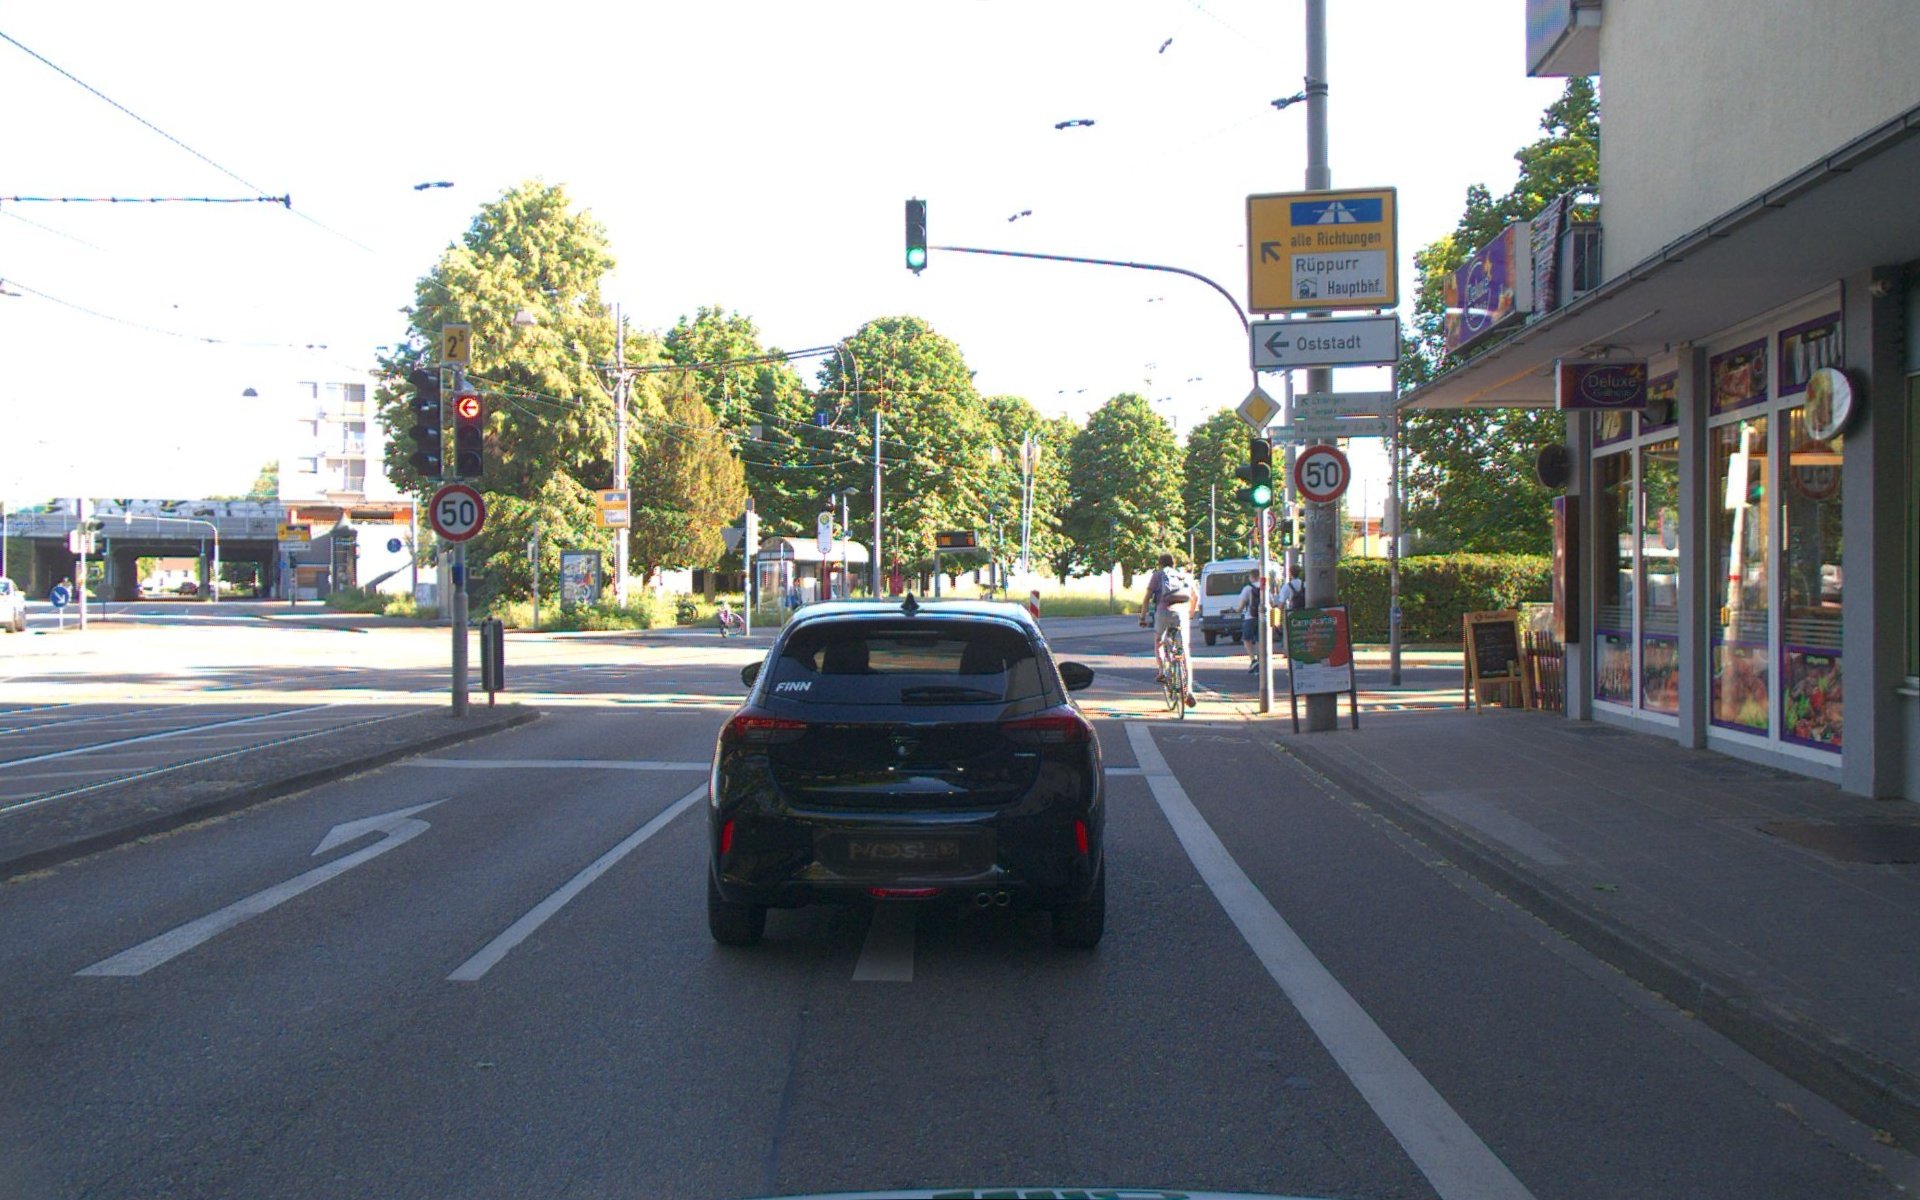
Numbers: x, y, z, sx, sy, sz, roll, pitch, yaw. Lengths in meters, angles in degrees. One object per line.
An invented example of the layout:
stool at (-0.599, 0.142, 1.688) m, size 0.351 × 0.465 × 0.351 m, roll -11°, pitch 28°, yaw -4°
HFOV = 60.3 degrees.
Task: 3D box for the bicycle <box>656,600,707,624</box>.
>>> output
bicycle at (-10.782, 0.461, 63.977) m, size 1.837 × 0.922 × 0.660 m, roll 0°, pitch 0°, yaw 6°

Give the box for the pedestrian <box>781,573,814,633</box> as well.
pedestrian at (-4.762, 0.080, 48.485) m, size 0.695 × 1.722 × 0.716 m, roll -1°, pitch 0°, yaw -43°

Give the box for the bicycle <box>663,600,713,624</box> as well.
bicycle at (-10.651, 0.460, 64.850) m, size 1.837 × 0.922 × 0.660 m, roll 0°, pitch 0°, yaw 6°

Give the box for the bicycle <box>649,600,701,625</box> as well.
bicycle at (-10.860, 0.469, 62.991) m, size 1.837 × 0.922 × 0.660 m, roll 0°, pitch 0°, yaw 6°

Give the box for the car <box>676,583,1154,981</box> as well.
car at (-0.145, 0.658, 8.097) m, size 1.763 × 1.466 × 3.940 m, roll 0°, pitch 0°, yaw 1°

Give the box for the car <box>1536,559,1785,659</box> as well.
car at (13.470, 0.215, 32.020) m, size 4.087 × 1.846 × 1.807 m, roll 0°, pitch -3°, yaw 8°

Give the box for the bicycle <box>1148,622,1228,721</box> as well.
bicycle at (2.723, 0.833, 19.942) m, size 0.653 × 1.078 × 2.082 m, roll 0°, pitch 0°, yaw -1°

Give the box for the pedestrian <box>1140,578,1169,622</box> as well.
pedestrian at (8.176, 0.006, 69.573) m, size 0.939 × 1.824 × 0.995 m, roll 0°, pitch 0°, yaw 25°

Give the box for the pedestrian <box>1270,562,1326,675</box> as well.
pedestrian at (5.709, 0.299, 27.930) m, size 0.691 × 1.878 × 0.697 m, roll 0°, pitch 0°, yaw 39°

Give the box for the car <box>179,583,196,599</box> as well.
car at (-104.440, -1.173, 223.589) m, size 1.970 × 2.049 × 3.965 m, roll 1°, pitch -1°, yaw -27°

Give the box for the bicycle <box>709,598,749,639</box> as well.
bicycle at (-6.391, 0.505, 45.864) m, size 0.808 × 1.078 × 1.883 m, roll 0°, pitch 0°, yaw 2°

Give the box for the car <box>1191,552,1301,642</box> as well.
car at (7.924, -0.062, 45.517) m, size 2.047 × 2.317 × 4.304 m, roll 1°, pitch -1°, yaw 23°

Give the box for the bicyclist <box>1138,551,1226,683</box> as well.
bicyclist at (2.662, 0.187, 19.992) m, size 0.823 × 1.536 × 1.368 m, roll 0°, pitch 0°, yaw -3°

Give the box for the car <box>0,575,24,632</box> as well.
car at (-29.601, 0.087, 50.106) m, size 1.974 × 1.660 × 4.580 m, roll -1°, pitch 1°, yaw -32°

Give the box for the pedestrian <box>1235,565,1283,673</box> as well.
pedestrian at (5.127, 0.319, 28.386) m, size 0.684 × 1.823 × 0.617 m, roll 0°, pitch 0°, yaw -1°
